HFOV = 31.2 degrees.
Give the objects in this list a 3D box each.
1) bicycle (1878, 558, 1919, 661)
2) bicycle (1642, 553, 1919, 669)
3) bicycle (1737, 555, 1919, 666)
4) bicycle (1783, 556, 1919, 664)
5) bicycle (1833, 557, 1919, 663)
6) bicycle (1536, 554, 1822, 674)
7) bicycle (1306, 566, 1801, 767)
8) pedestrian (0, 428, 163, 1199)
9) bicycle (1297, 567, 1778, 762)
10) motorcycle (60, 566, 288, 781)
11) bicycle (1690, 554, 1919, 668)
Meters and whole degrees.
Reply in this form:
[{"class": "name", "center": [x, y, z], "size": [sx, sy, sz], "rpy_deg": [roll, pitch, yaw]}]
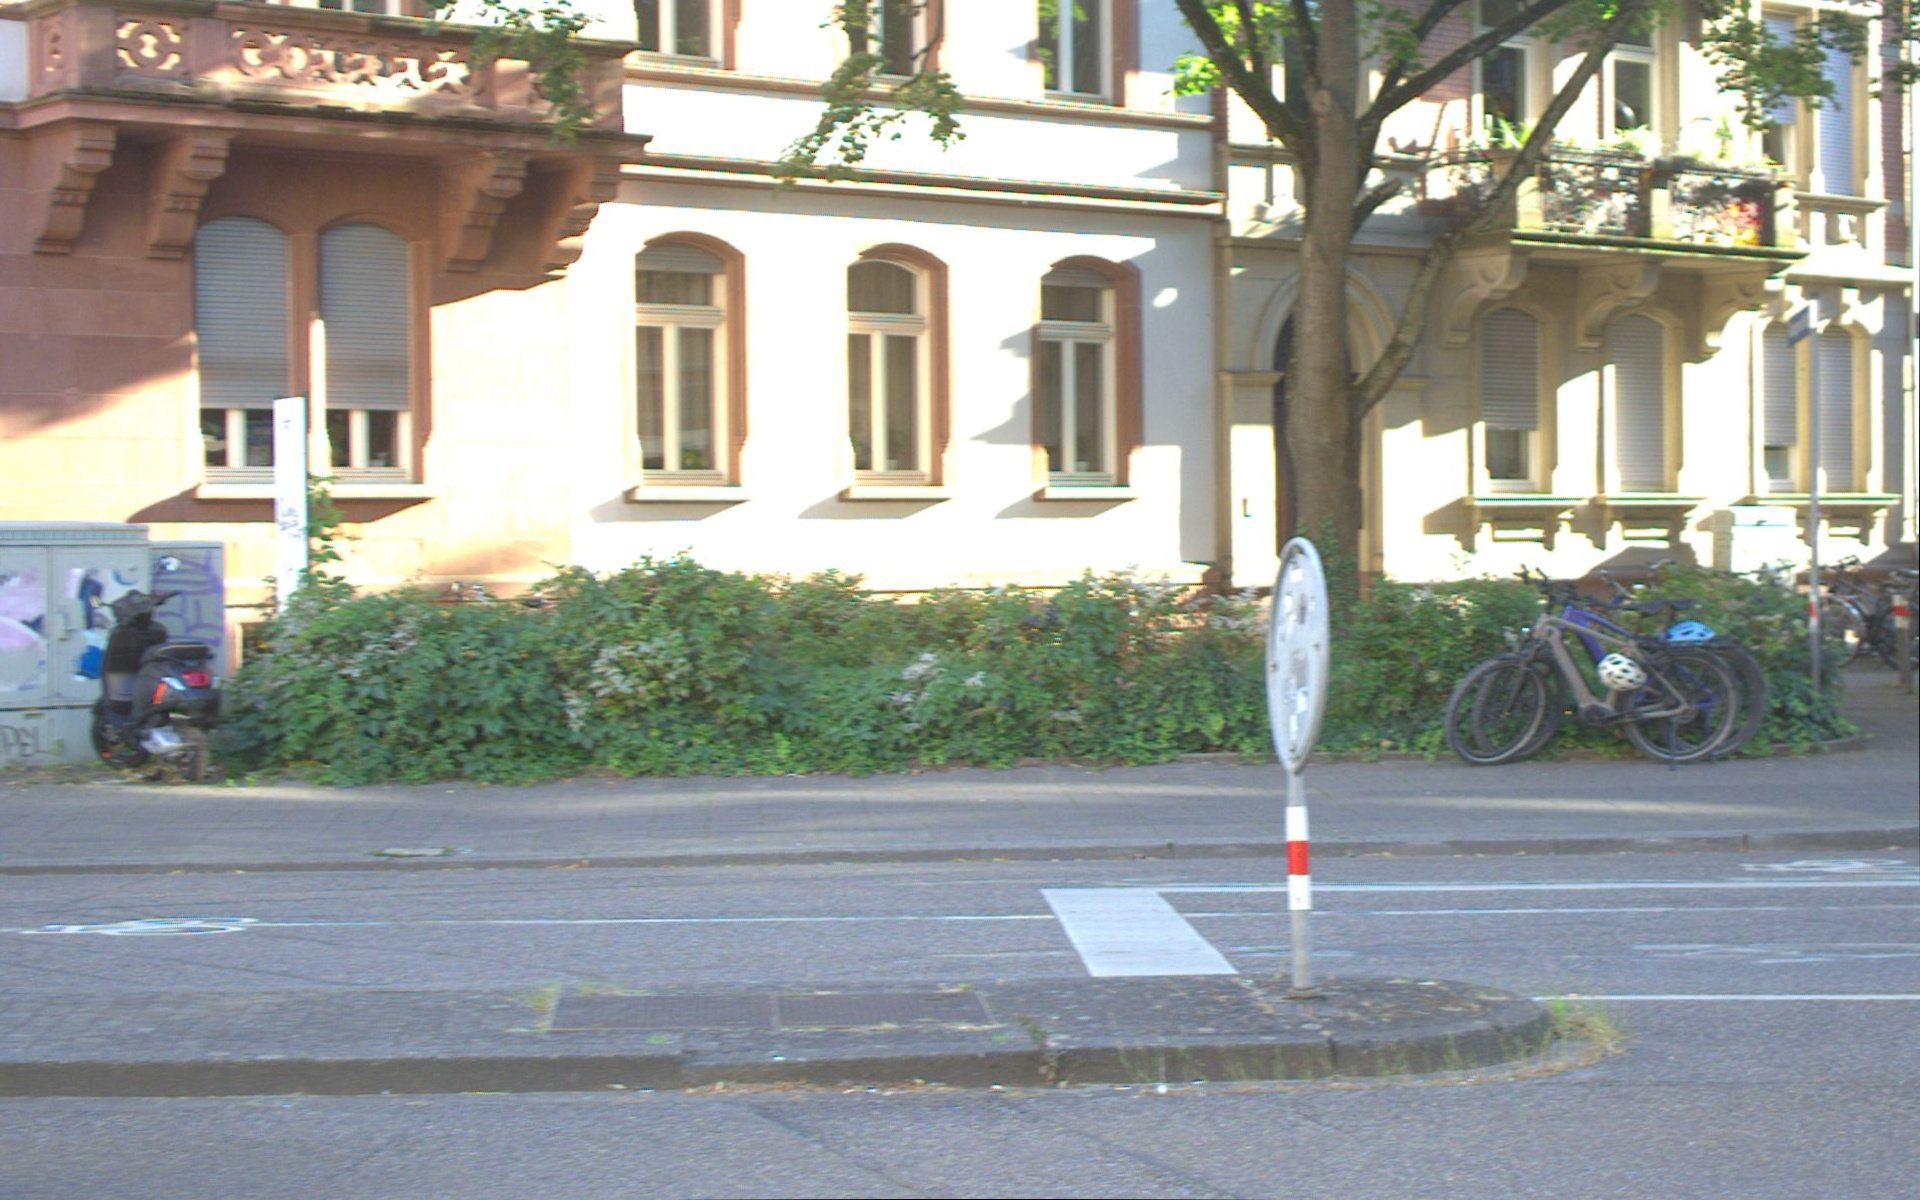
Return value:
[{"class": "bicycle", "center": [11.949, 0.117, 39.005], "size": [0.750, 1.176, 3.136], "rpy_deg": [-1, 1, -38]}, {"class": "bicycle", "center": [8.699, 0.093, 36.484], "size": [0.750, 1.176, 3.136], "rpy_deg": [-1, 1, -38]}, {"class": "bicycle", "center": [9.971, 0.100, 37.483], "size": [0.750, 1.176, 3.136], "rpy_deg": [-1, 1, -38]}, {"class": "bicycle", "center": [10.598, 0.105, 37.996], "size": [0.750, 1.176, 3.136], "rpy_deg": [-1, 1, -38]}, {"class": "bicycle", "center": [11.292, 0.111, 38.476], "size": [0.750, 1.176, 3.136], "rpy_deg": [-1, 1, -38]}, {"class": "bicycle", "center": [7.372, 0.125, 35.438], "size": [0.750, 1.176, 3.136], "rpy_deg": [-1, 1, -38]}, {"class": "bicycle", "center": [3.645, 0.403, 21.227], "size": [2.949, 1.192, 0.548], "rpy_deg": [-1, 1, 1]}, {"class": "pedestrian", "center": [-2.338, 0.498, 7.213], "size": [0.983, 1.692, 0.867], "rpy_deg": [0, 1, 41]}, {"class": "bicycle", "center": [3.646, 0.403, 21.822], "size": [2.949, 1.192, 0.548], "rpy_deg": [-1, 1, 1]}, {"class": "motorcycle", "center": [-4.946, 0.425, 21.536], "size": [0.840, 1.261, 2.111], "rpy_deg": [-1, 1, -28]}, {"class": "bicycle", "center": [9.326, 0.095, 36.962], "size": [0.750, 1.176, 3.136], "rpy_deg": [-1, 1, -38]}]
